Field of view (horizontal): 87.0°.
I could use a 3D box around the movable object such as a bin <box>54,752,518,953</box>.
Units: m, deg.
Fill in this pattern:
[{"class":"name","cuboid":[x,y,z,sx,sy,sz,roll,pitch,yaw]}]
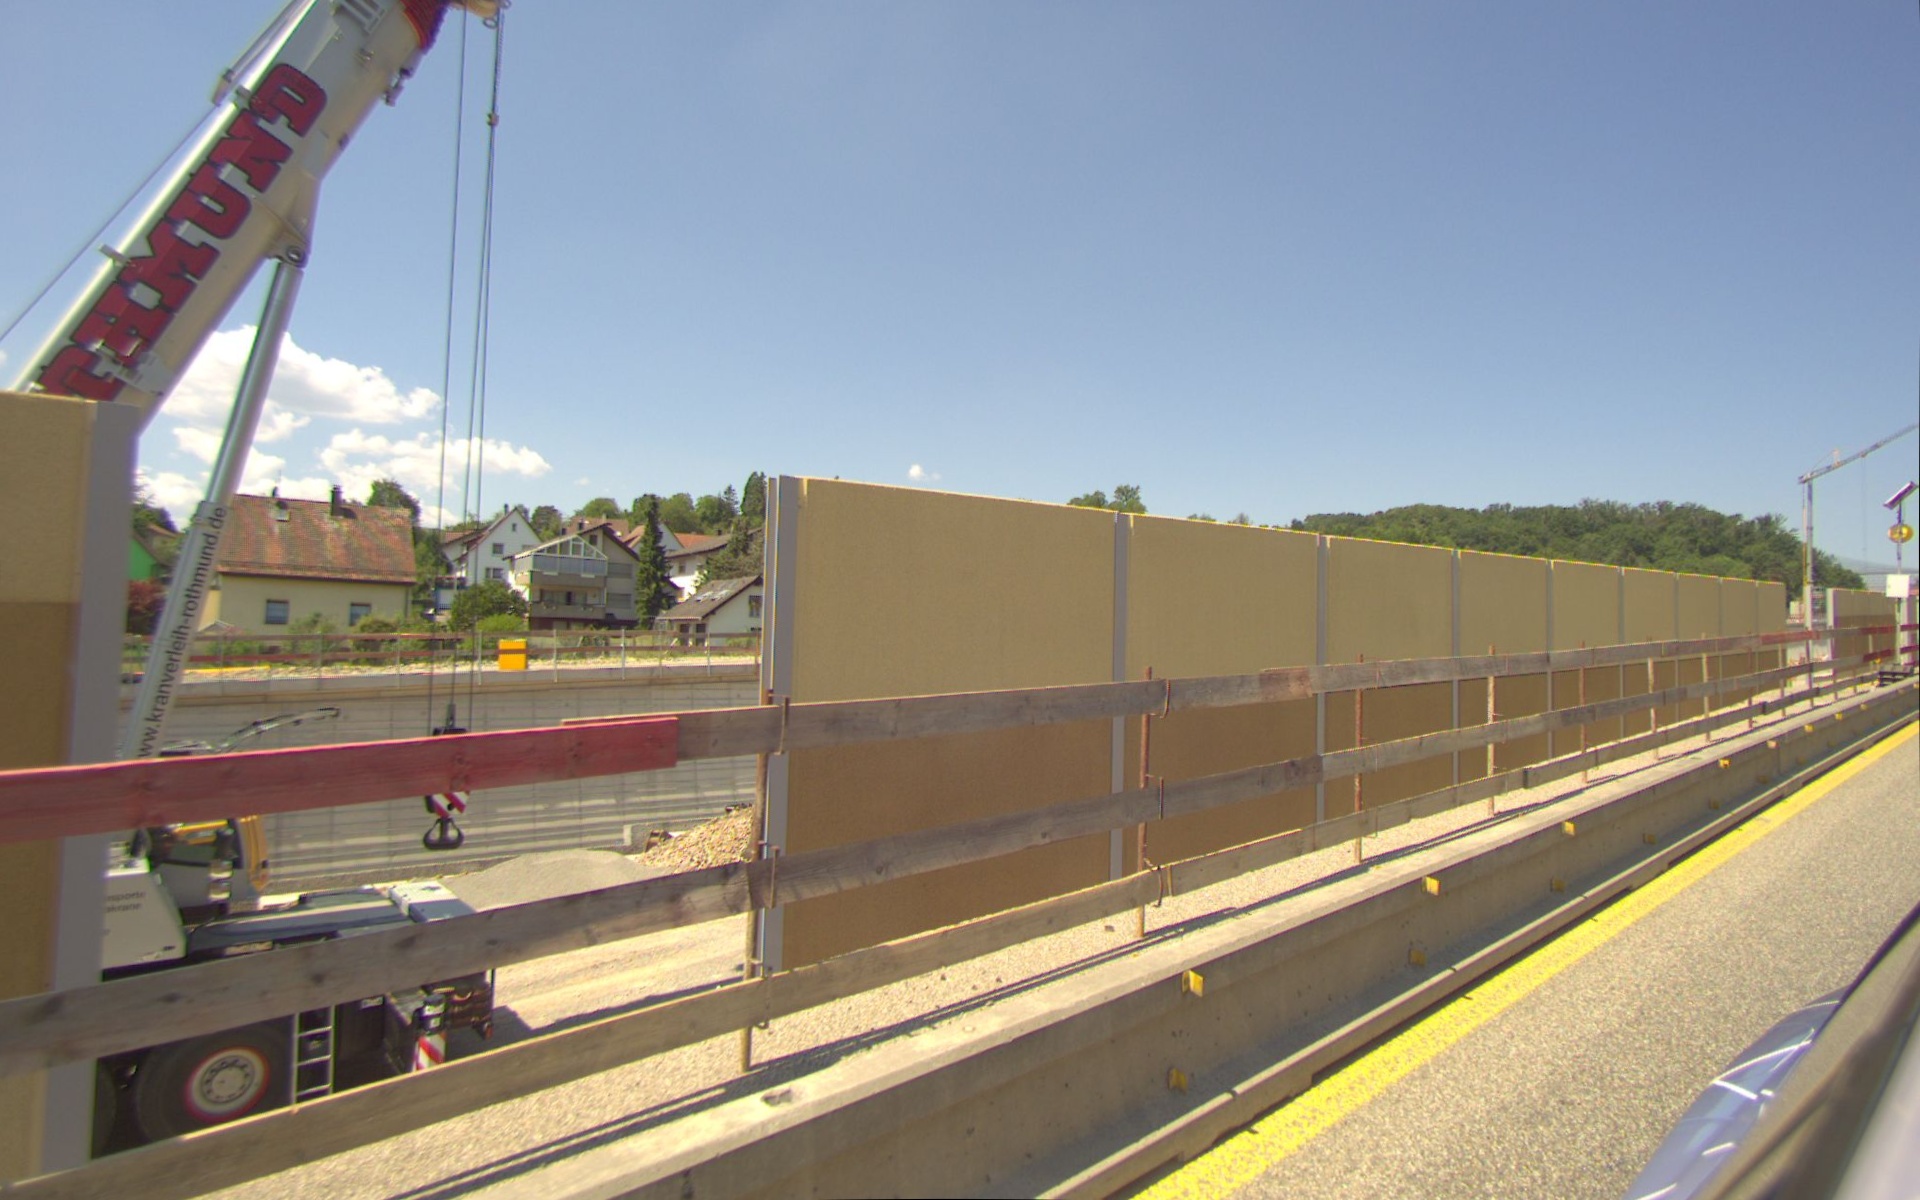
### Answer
[{"class":"movable object such as a bin","cuboid":[-13.872,4.972,21.411,7.755,2.478,3.168,0,-2,-40]}]
